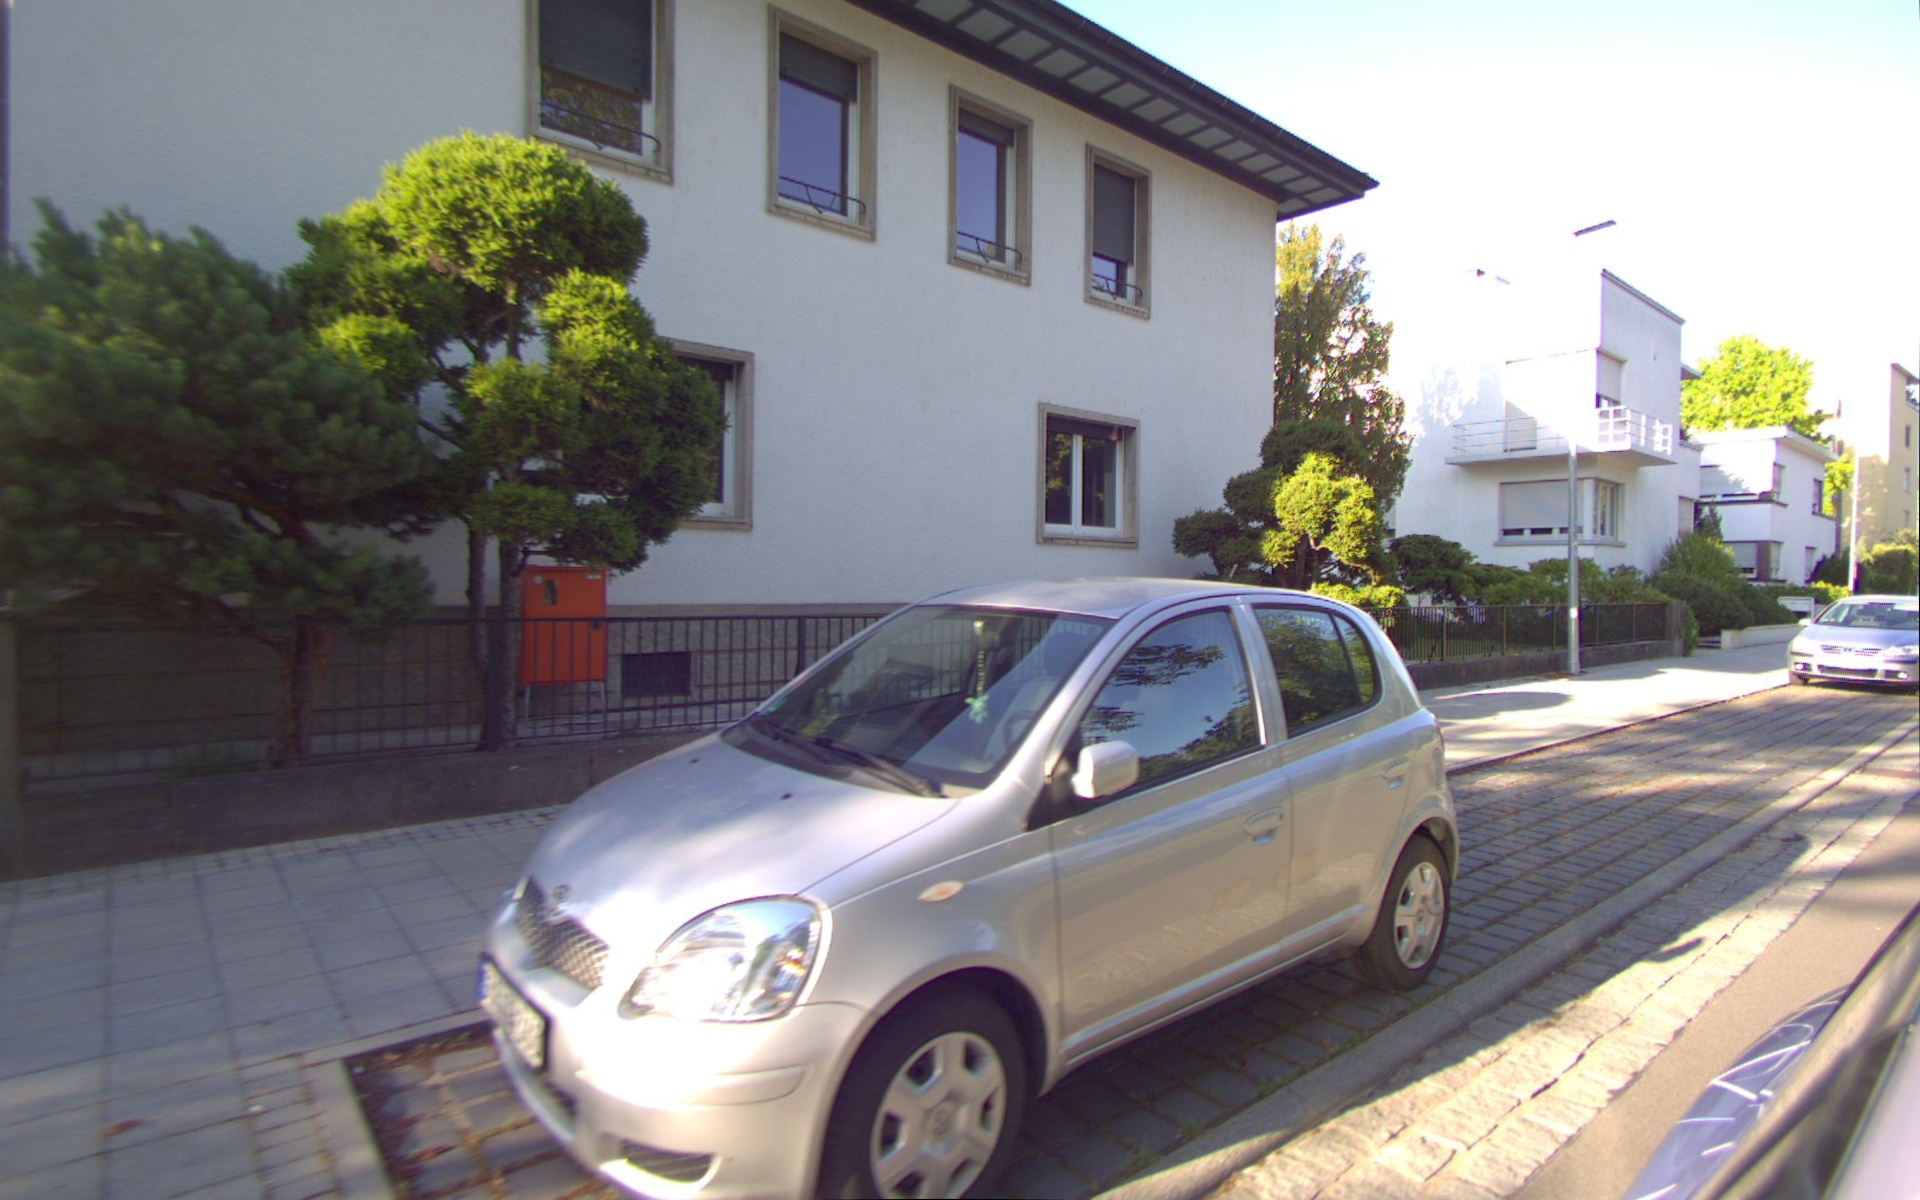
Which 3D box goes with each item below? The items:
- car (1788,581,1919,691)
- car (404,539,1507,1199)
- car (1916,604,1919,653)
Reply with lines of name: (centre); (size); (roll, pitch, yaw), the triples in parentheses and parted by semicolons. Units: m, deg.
car: (14.941, 0.509, 16.113); (3.848, 1.492, 1.751); (0, 4, -36)
car: (0.254, 0.625, 3.495); (3.568, 1.523, 1.632); (0, 2, -40)
car: (23.621, 0.613, 23.327); (4.196, 1.304, 1.779); (1, 3, -40)
